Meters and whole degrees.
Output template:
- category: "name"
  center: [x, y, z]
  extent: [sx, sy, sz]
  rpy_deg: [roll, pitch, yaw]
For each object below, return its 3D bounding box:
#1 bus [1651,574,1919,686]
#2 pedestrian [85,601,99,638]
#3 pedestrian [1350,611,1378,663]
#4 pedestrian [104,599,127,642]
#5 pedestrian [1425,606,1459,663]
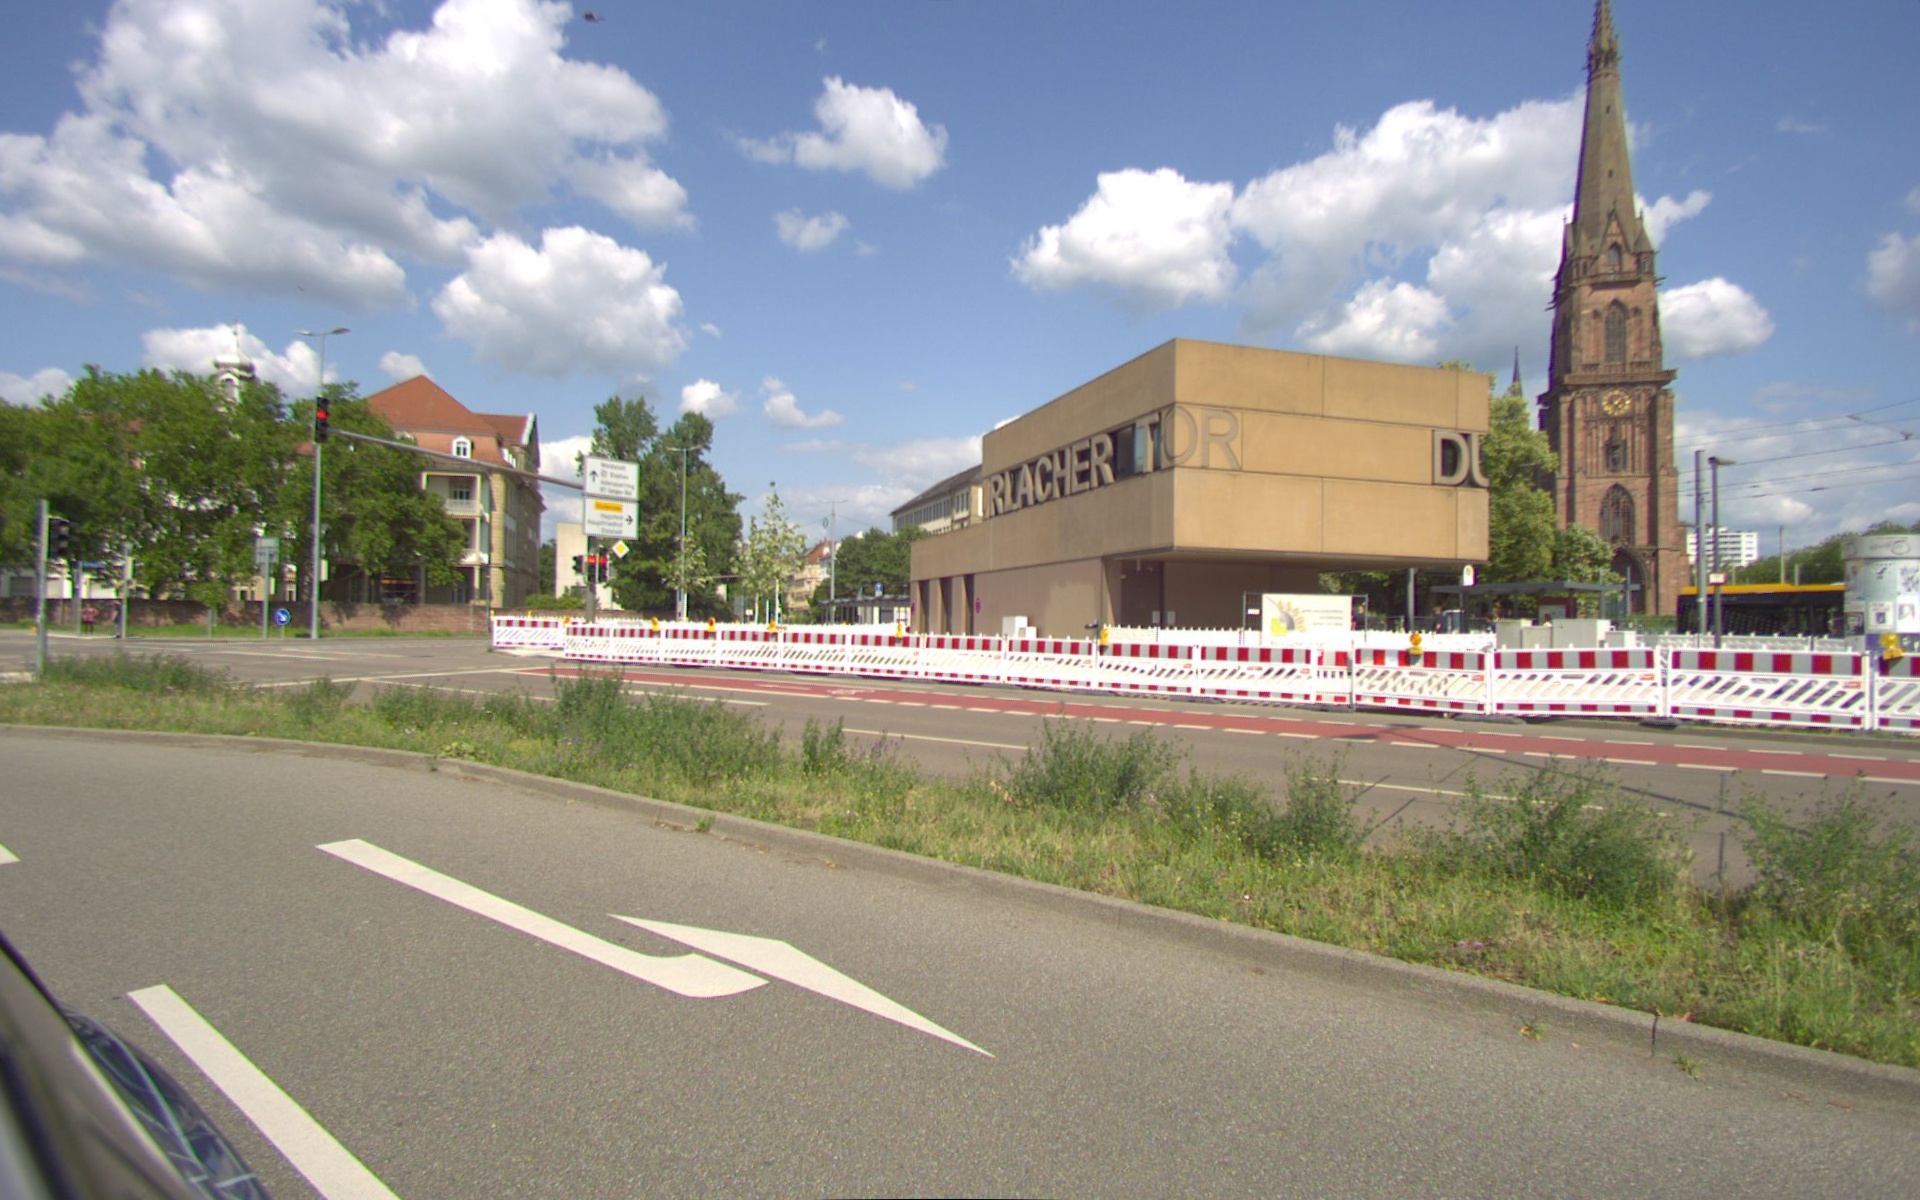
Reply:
- category: "bus"
  center: [28.003, 0.902, 30.365]
  extent: [2.785, 3.160, 12.880]
  rpy_deg: [1, -2, -18]
- category: "pedestrian"
  center: [-41.361, 0.938, 48.217]
  extent: [0.363, 1.745, 0.452]
  rpy_deg: [0, 0, -20]
- category: "pedestrian"
  center: [12.974, 1.193, 32.512]
  extent: [0.763, 1.644, 0.646]
  rpy_deg: [0, -1, 30]
- category: "pedestrian"
  center: [-39.602, 0.940, 47.480]
  extent: [0.616, 2.009, 0.579]
  rpy_deg: [0, 0, 13]
- category: "pedestrian"
  center: [14.032, 1.006, 29.483]
  extent: [0.720, 1.642, 0.561]
  rpy_deg: [1, -1, -21]
